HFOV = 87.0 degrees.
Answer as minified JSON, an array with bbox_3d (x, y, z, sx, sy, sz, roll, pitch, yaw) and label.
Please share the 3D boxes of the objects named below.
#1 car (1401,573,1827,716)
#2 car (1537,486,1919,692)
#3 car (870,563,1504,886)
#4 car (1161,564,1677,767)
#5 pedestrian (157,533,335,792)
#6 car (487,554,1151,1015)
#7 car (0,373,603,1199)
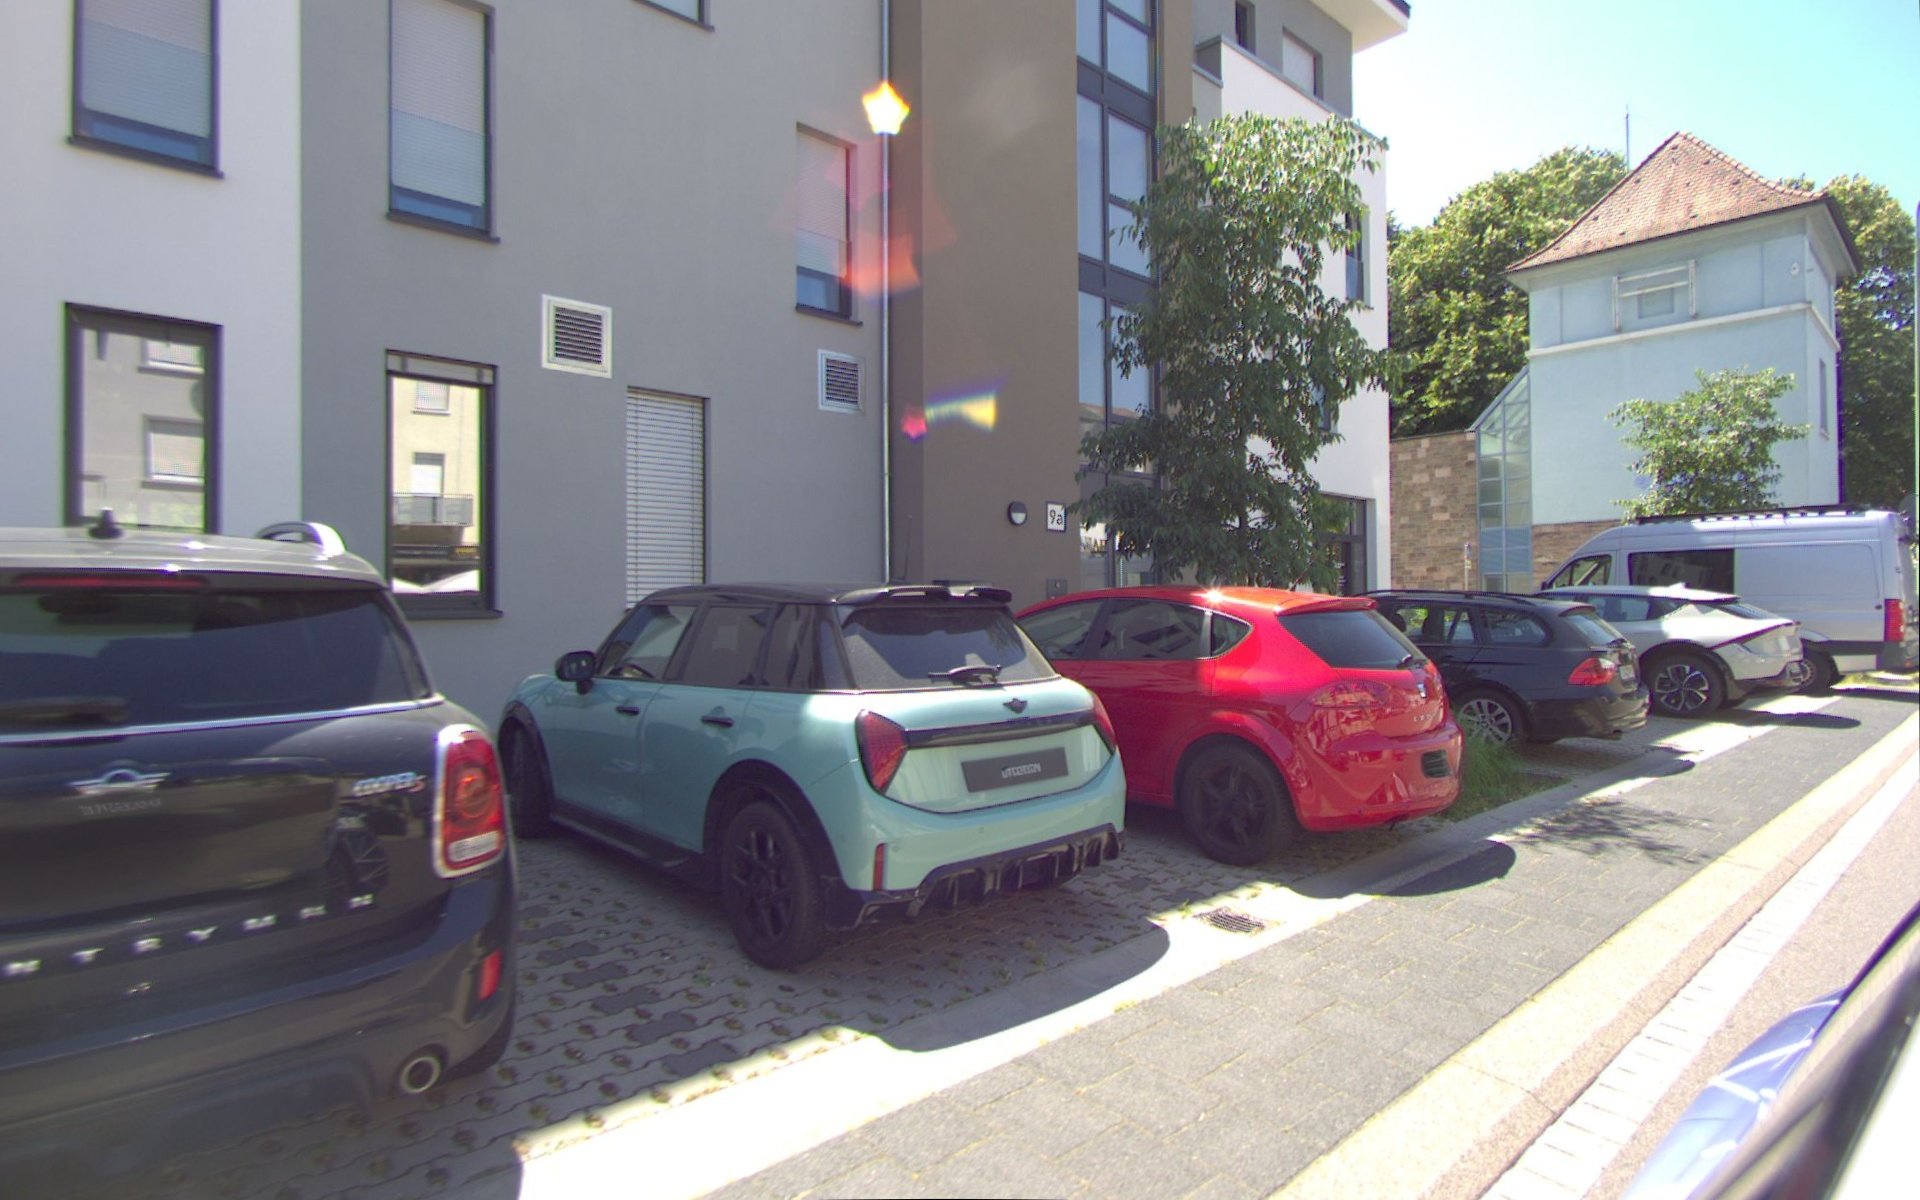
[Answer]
[{"bbox_3d":[8.283,0.474,13.175,1.689,1.549,4.377,0,0,-41],"label":"car"},{"bbox_3d":[12.113,-0.158,16.011,1.819,2.770,4.863,0,0,-41],"label":"car"},{"bbox_3d":[1.213,0.569,6.612,1.624,1.481,3.812,0,0,-42],"label":"car"},{"bbox_3d":[4.268,0.503,9.970,1.625,1.570,4.349,0,0,-44],"label":"car"},{"bbox_3d":[-5.074,0.407,7.207,0.990,1.705,0.576,0,-1,-41],"label":"pedestrian"},{"bbox_3d":[-0.976,0.562,5.130,1.589,1.480,3.612,0,1,-42],"label":"car"},{"bbox_3d":[-2.829,0.512,3.249,1.810,1.809,3.811,0,0,-43],"label":"car"}]
